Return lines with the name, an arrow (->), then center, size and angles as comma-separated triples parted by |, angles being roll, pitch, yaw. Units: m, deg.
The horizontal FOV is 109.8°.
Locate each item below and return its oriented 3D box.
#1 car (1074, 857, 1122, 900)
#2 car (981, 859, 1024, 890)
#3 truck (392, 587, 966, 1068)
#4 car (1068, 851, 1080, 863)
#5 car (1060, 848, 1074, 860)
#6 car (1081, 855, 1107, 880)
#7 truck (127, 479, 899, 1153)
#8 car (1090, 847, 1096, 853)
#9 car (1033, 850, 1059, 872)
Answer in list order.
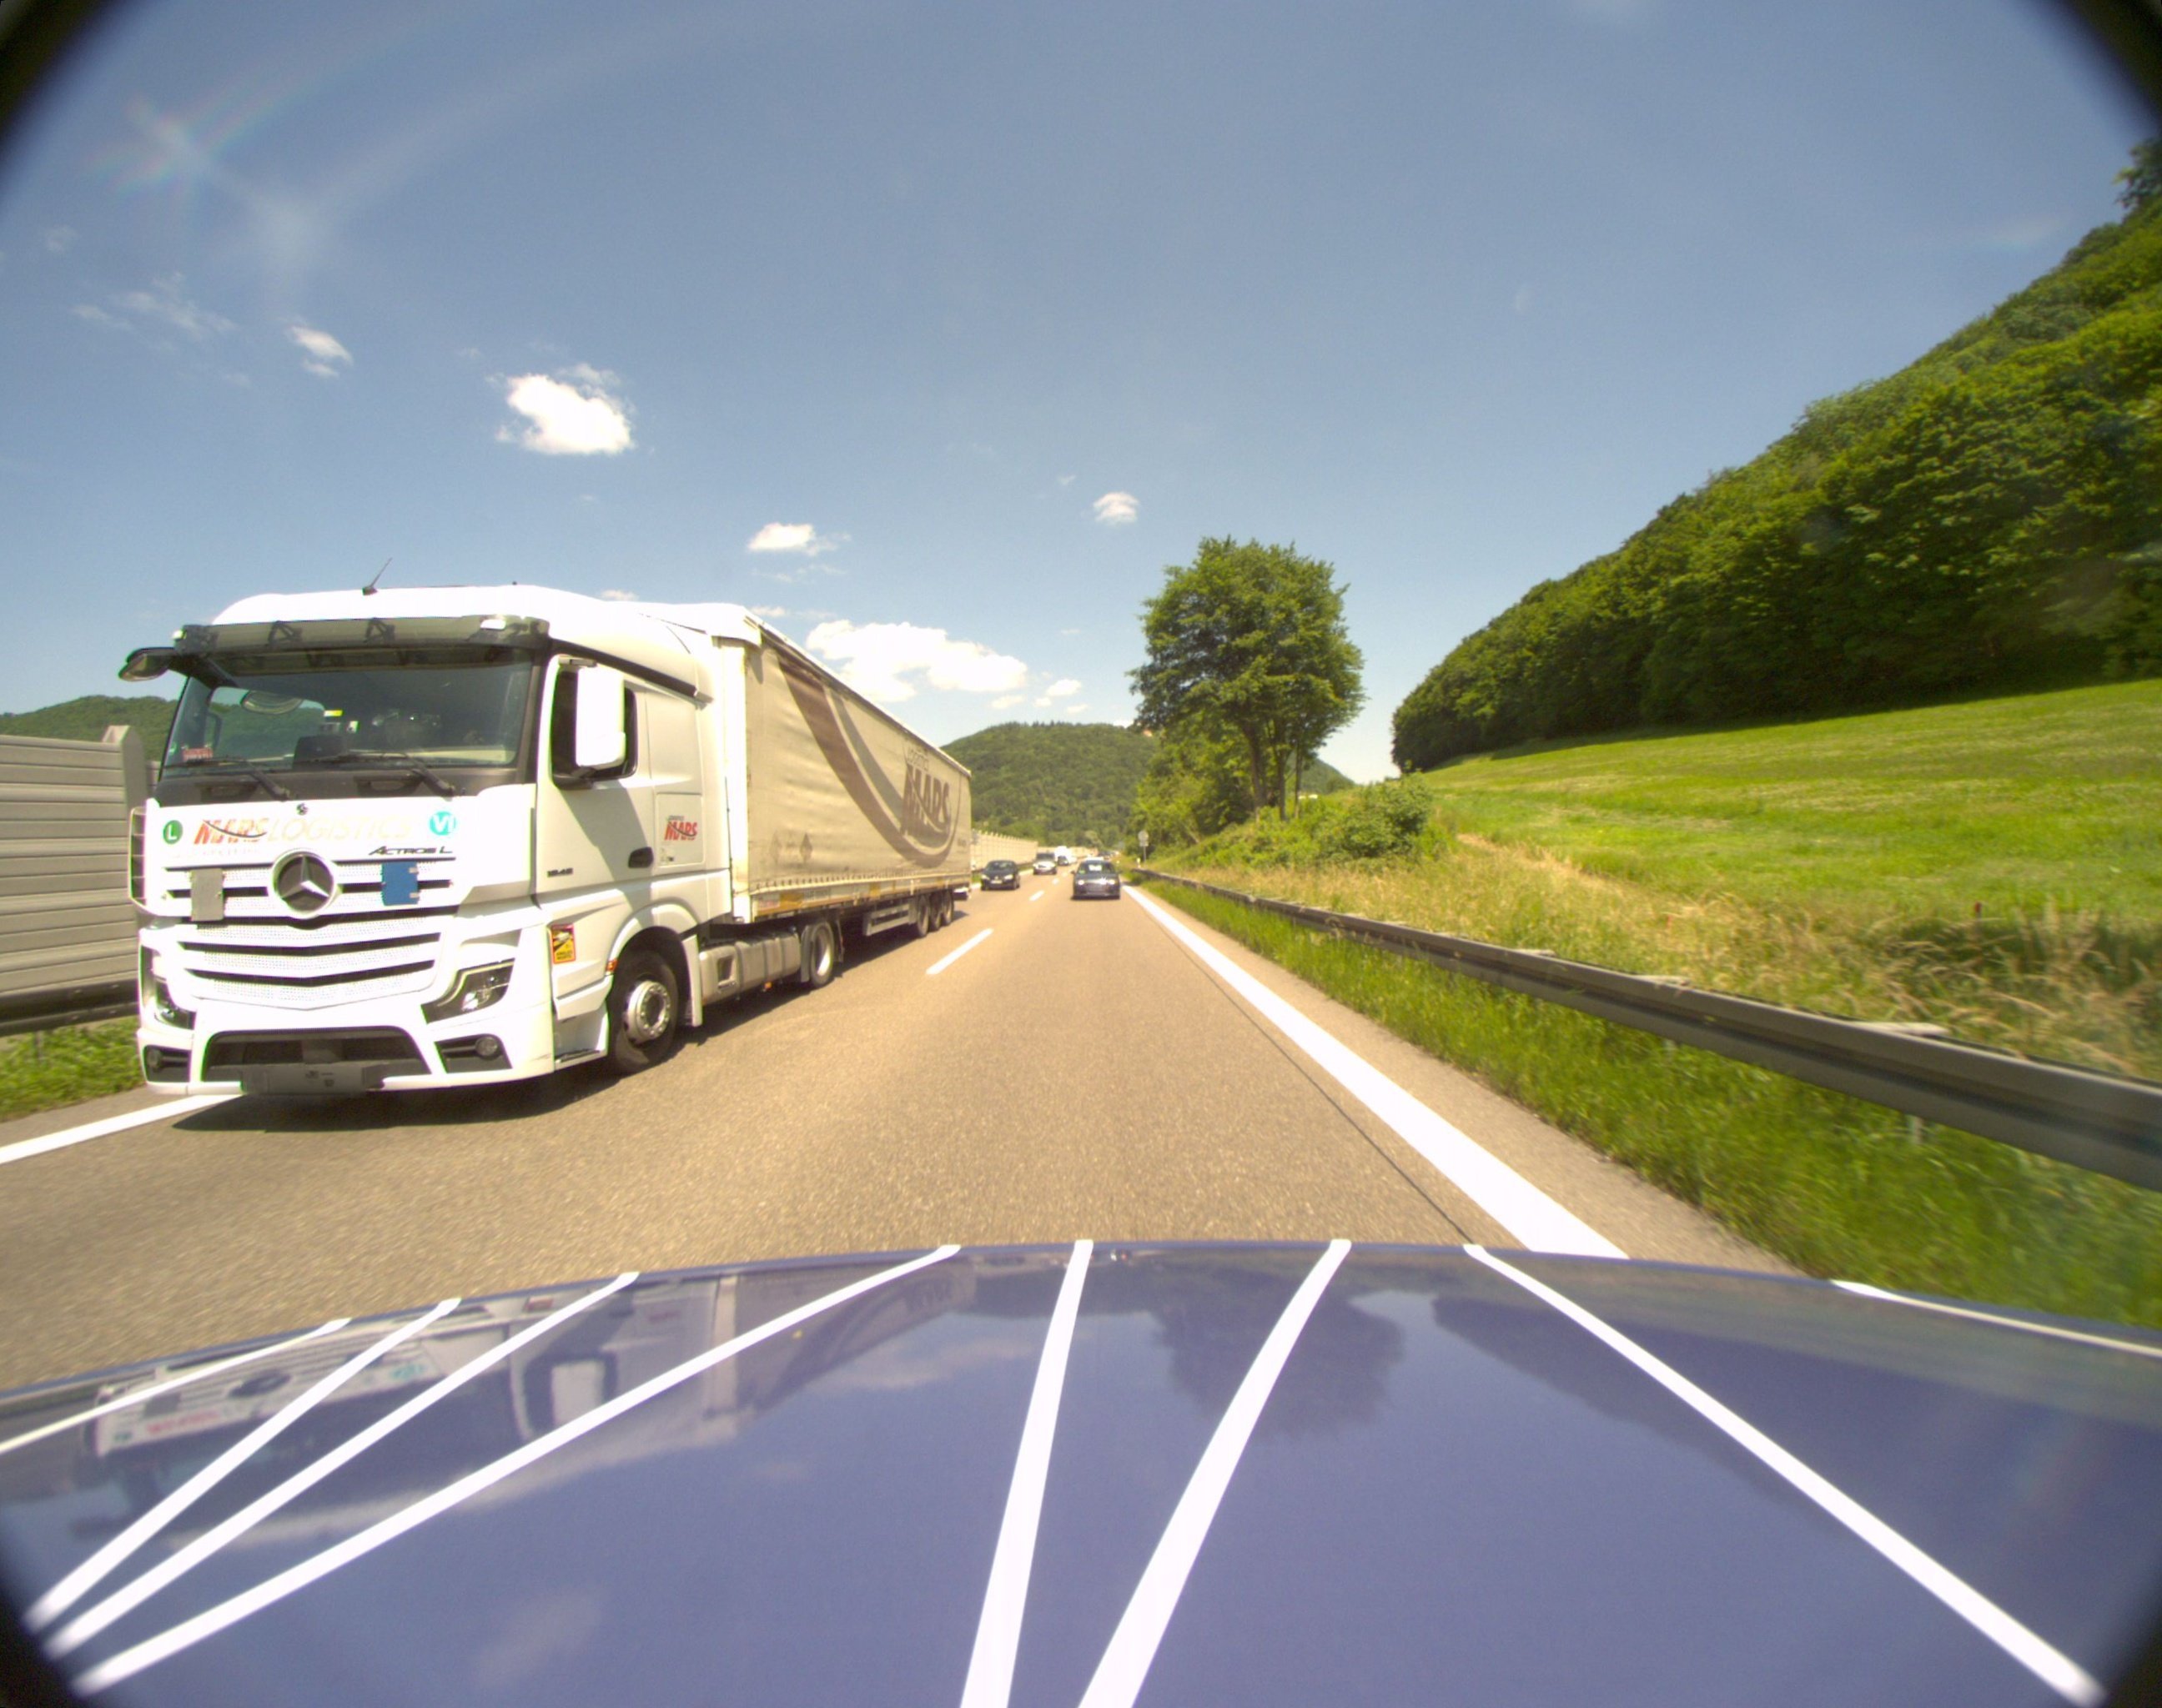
car -> 0.625, 0.867, 28.098 | 1.662, 1.435, 3.475 | -1, 1, 1
car -> -3.817, 0.978, 37.411 | 1.662, 1.405, 3.475 | -1, 1, 1
truck -> -4.406, -0.262, 12.644 | 2.861, 4.124, 12.046 | -1, 1, 1
car -> -1.327, 0.519, 140.596 | 1.998, 2.002, 4.000 | -2, 0, 1
car -> -2.091, 0.016, 118.101 | 1.998, 1.892, 4.001 | 0, -1, 2
car -> 0.865, 0.868, 51.205 | 1.715, 1.541, 4.000 | -1, 0, 1
truck -> -4.252, -0.224, 8.006 | 2.764, 4.015, 6.823 | -1, 0, 1
car -> 3.569, -1.141, 226.614 | 1.998, 1.721, 4.000 | 2, 1, 1
car -> -2.993, 0.638, 65.954 | 2.043, 1.854, 4.000 | -1, -1, 0
